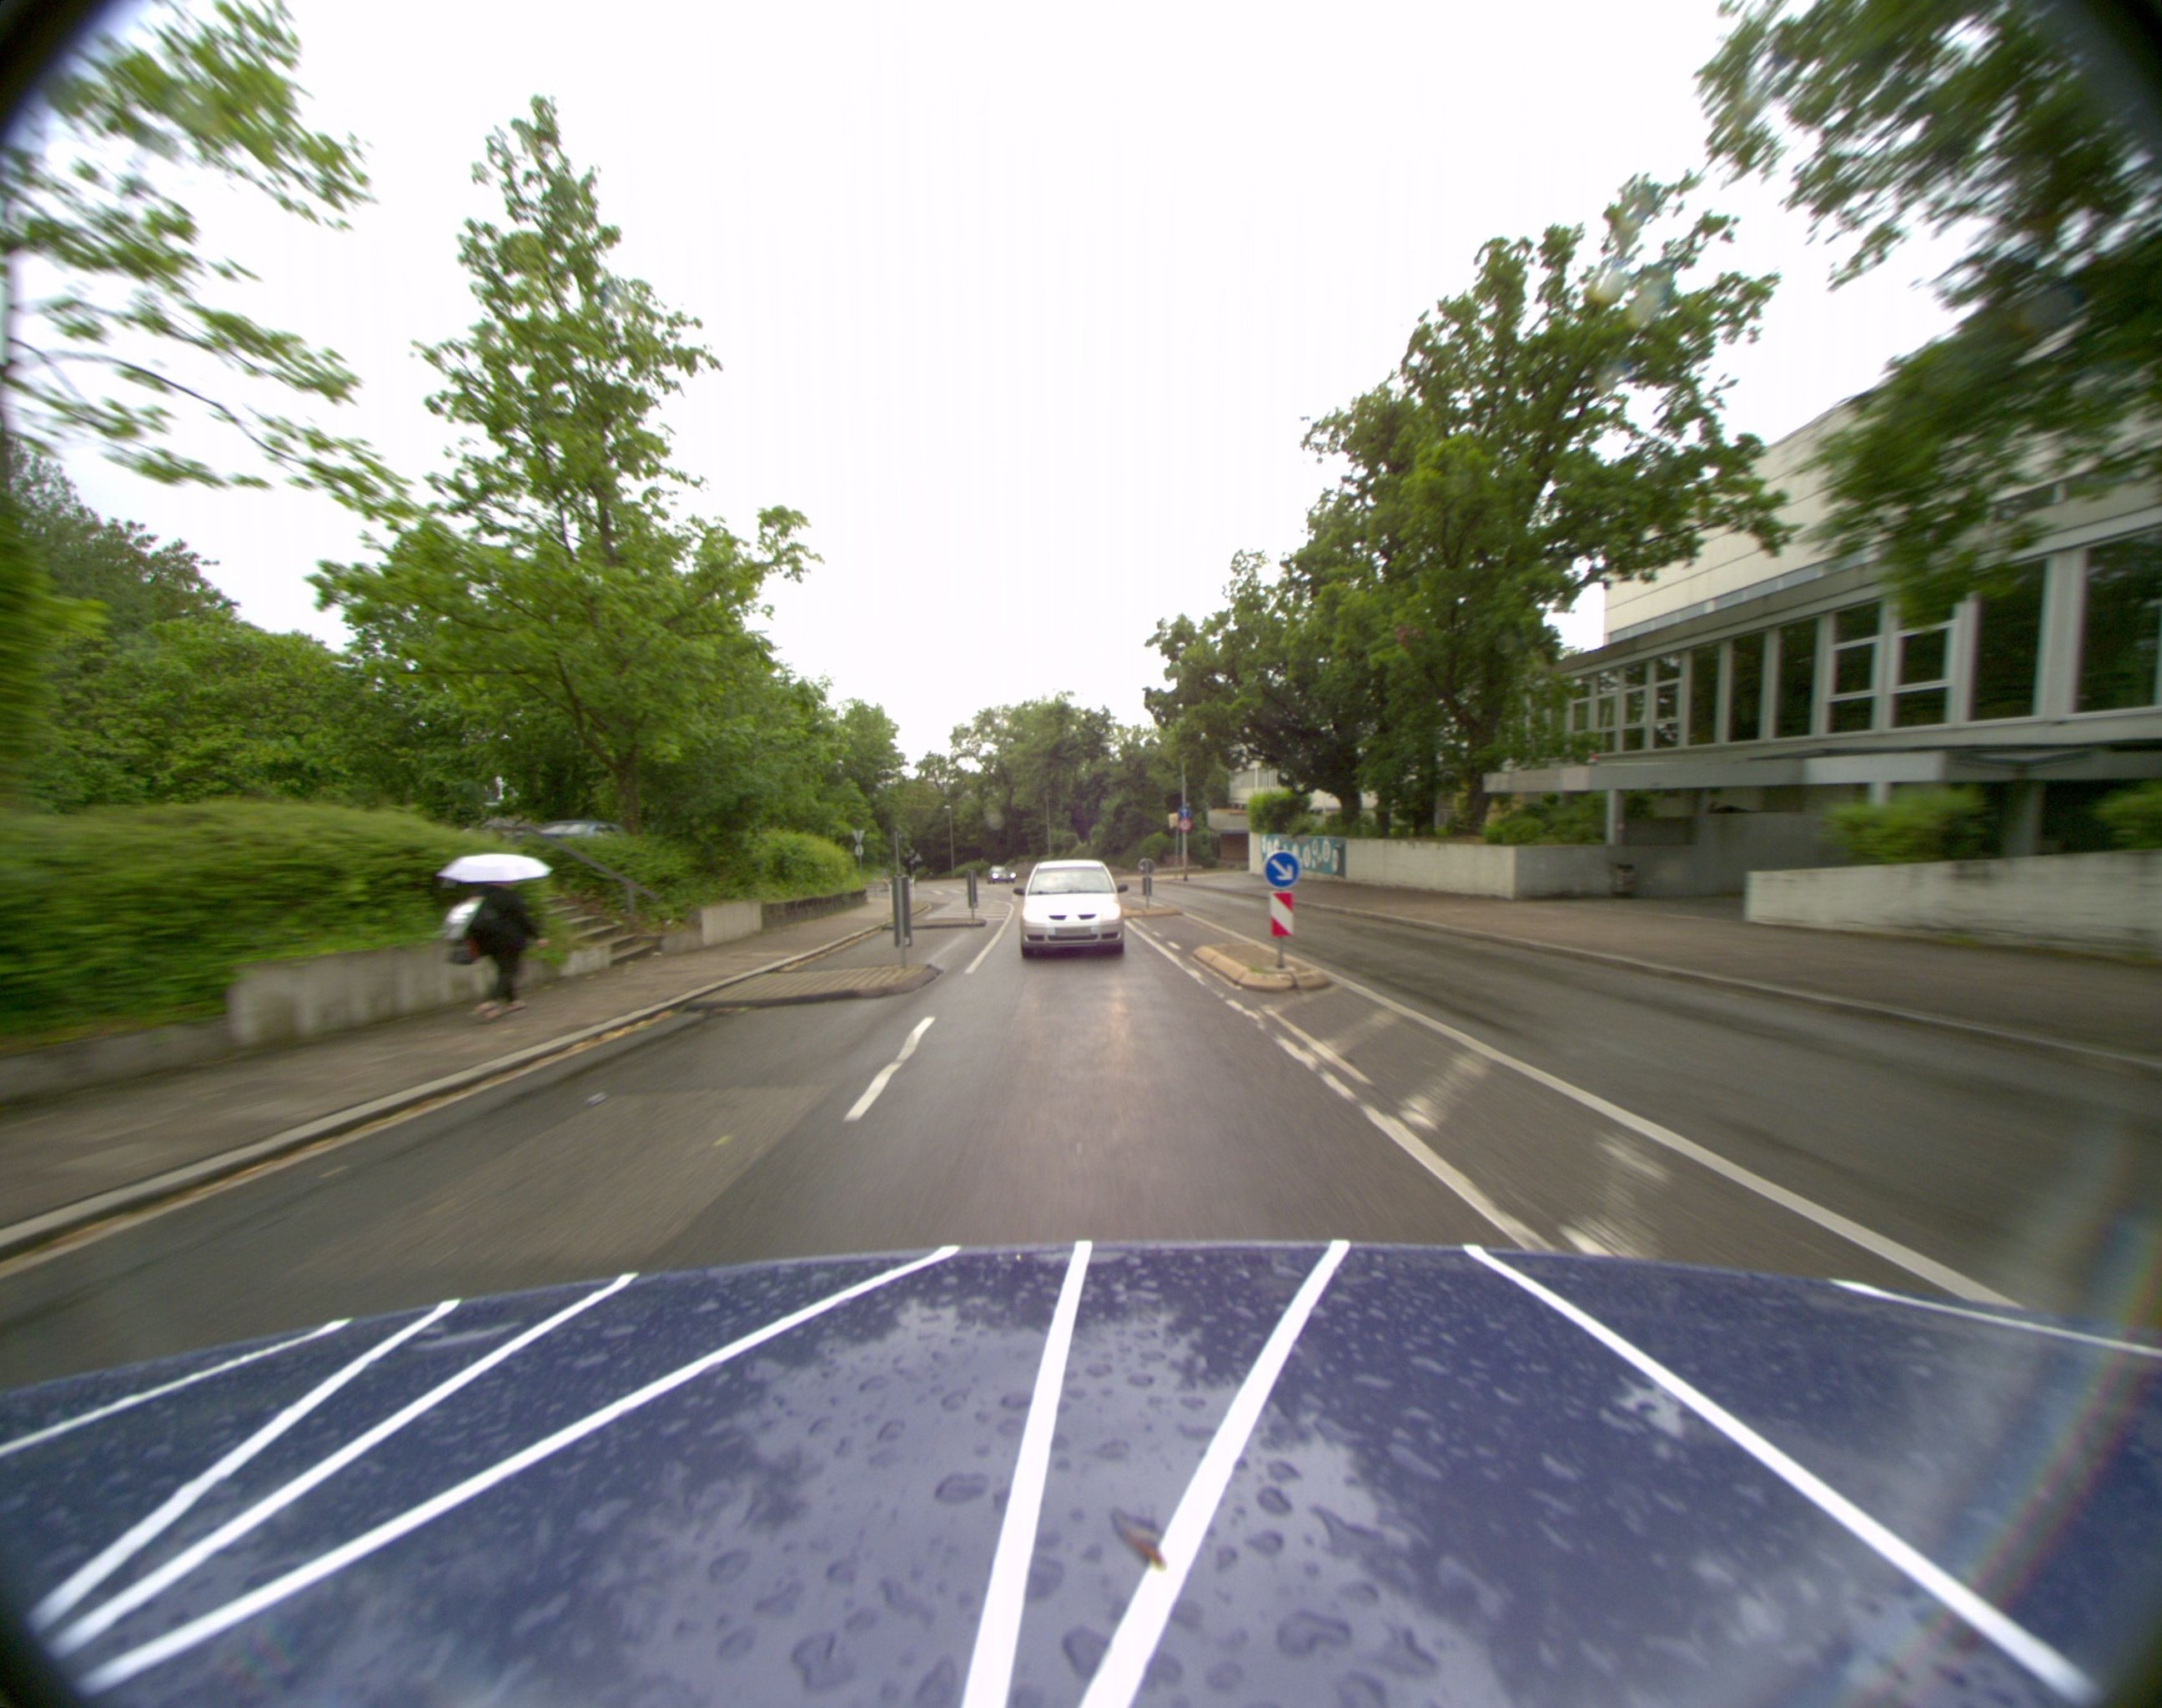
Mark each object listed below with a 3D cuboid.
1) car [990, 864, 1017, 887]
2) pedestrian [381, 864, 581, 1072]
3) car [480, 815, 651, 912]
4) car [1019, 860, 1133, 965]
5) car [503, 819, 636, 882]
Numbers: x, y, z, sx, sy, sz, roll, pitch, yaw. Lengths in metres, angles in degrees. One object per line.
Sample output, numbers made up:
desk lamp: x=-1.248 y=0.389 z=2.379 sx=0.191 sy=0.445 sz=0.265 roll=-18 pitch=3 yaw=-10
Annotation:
car: x=-6.251 y=1.702 z=61.682 sx=2.036 sy=1.691 sz=3.999 roll=-3 pitch=0 yaw=-4
pedestrian: x=-6.022 y=1.082 z=7.736 sx=1.054 sy=1.883 sz=1.132 roll=-2 pitch=3 yaw=-6
car: x=-12.062 y=0.214 z=18.056 sx=1.689 sy=2.002 sz=3.415 roll=-3 pitch=0 yaw=-2
car: x=-0.129 y=0.912 z=13.586 sx=1.640 sy=1.496 sz=4.000 roll=-4 pitch=0 yaw=-1
car: x=-11.884 y=-0.077 z=17.836 sx=1.310 sy=1.301 sz=2.876 roll=-3 pitch=0 yaw=-6
